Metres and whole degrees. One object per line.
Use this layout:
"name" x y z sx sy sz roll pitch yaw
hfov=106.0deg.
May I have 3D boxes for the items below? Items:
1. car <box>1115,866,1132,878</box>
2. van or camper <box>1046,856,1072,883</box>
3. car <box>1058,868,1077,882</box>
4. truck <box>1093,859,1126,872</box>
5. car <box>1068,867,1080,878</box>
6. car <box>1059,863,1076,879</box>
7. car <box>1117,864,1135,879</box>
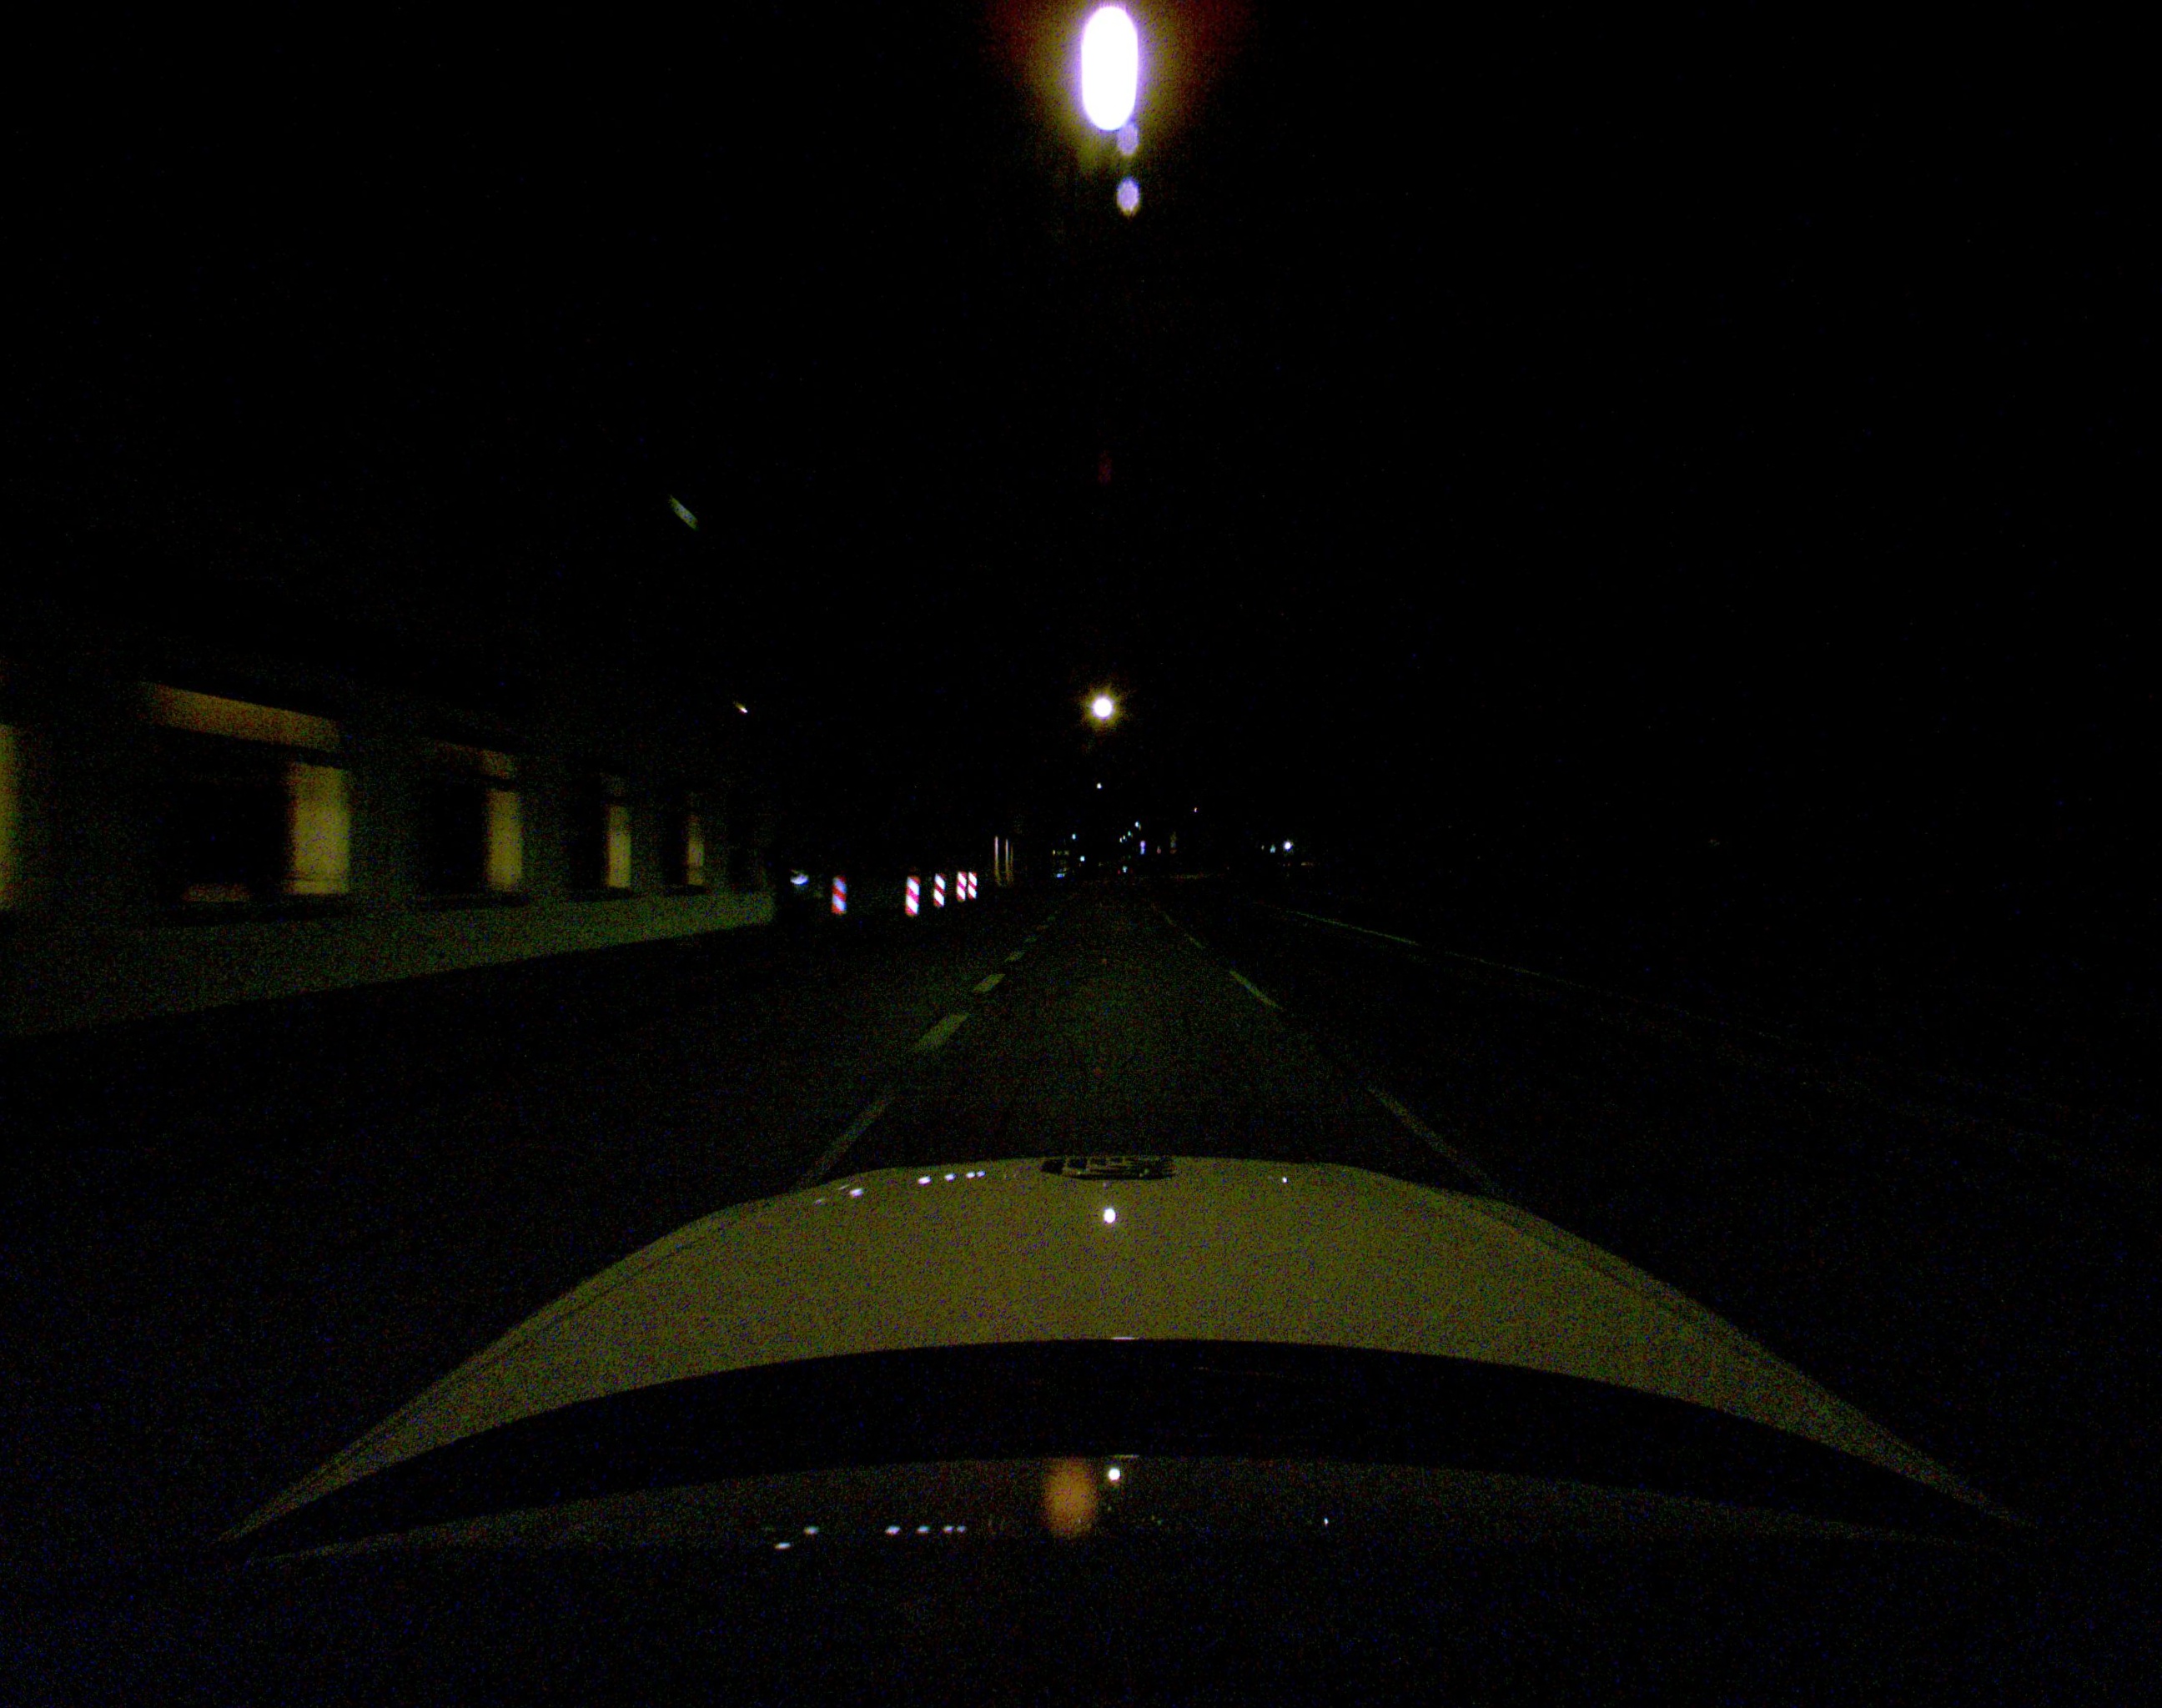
"car" 5.141 2.174 99.050 1.956 1.383 4.001 -1 -2 2
"van or camper" -2.199 1.633 83.265 2.151 2.536 6.227 -3 -1 1
"car" -1.615 2.392 94.226 1.836 1.507 4.732 -2 -1 -5
"truck" 6.039 2.404 171.170 6.758 2.844 1.998 0 -1 -2
"car" -1.017 2.614 116.817 1.699 1.510 4.099 0 -2 1
"car" -1.712 2.194 104.230 1.986 1.955 4.806 -1 -1 1
"car" 5.201 1.969 93.666 1.876 1.603 4.110 -3 -1 3
